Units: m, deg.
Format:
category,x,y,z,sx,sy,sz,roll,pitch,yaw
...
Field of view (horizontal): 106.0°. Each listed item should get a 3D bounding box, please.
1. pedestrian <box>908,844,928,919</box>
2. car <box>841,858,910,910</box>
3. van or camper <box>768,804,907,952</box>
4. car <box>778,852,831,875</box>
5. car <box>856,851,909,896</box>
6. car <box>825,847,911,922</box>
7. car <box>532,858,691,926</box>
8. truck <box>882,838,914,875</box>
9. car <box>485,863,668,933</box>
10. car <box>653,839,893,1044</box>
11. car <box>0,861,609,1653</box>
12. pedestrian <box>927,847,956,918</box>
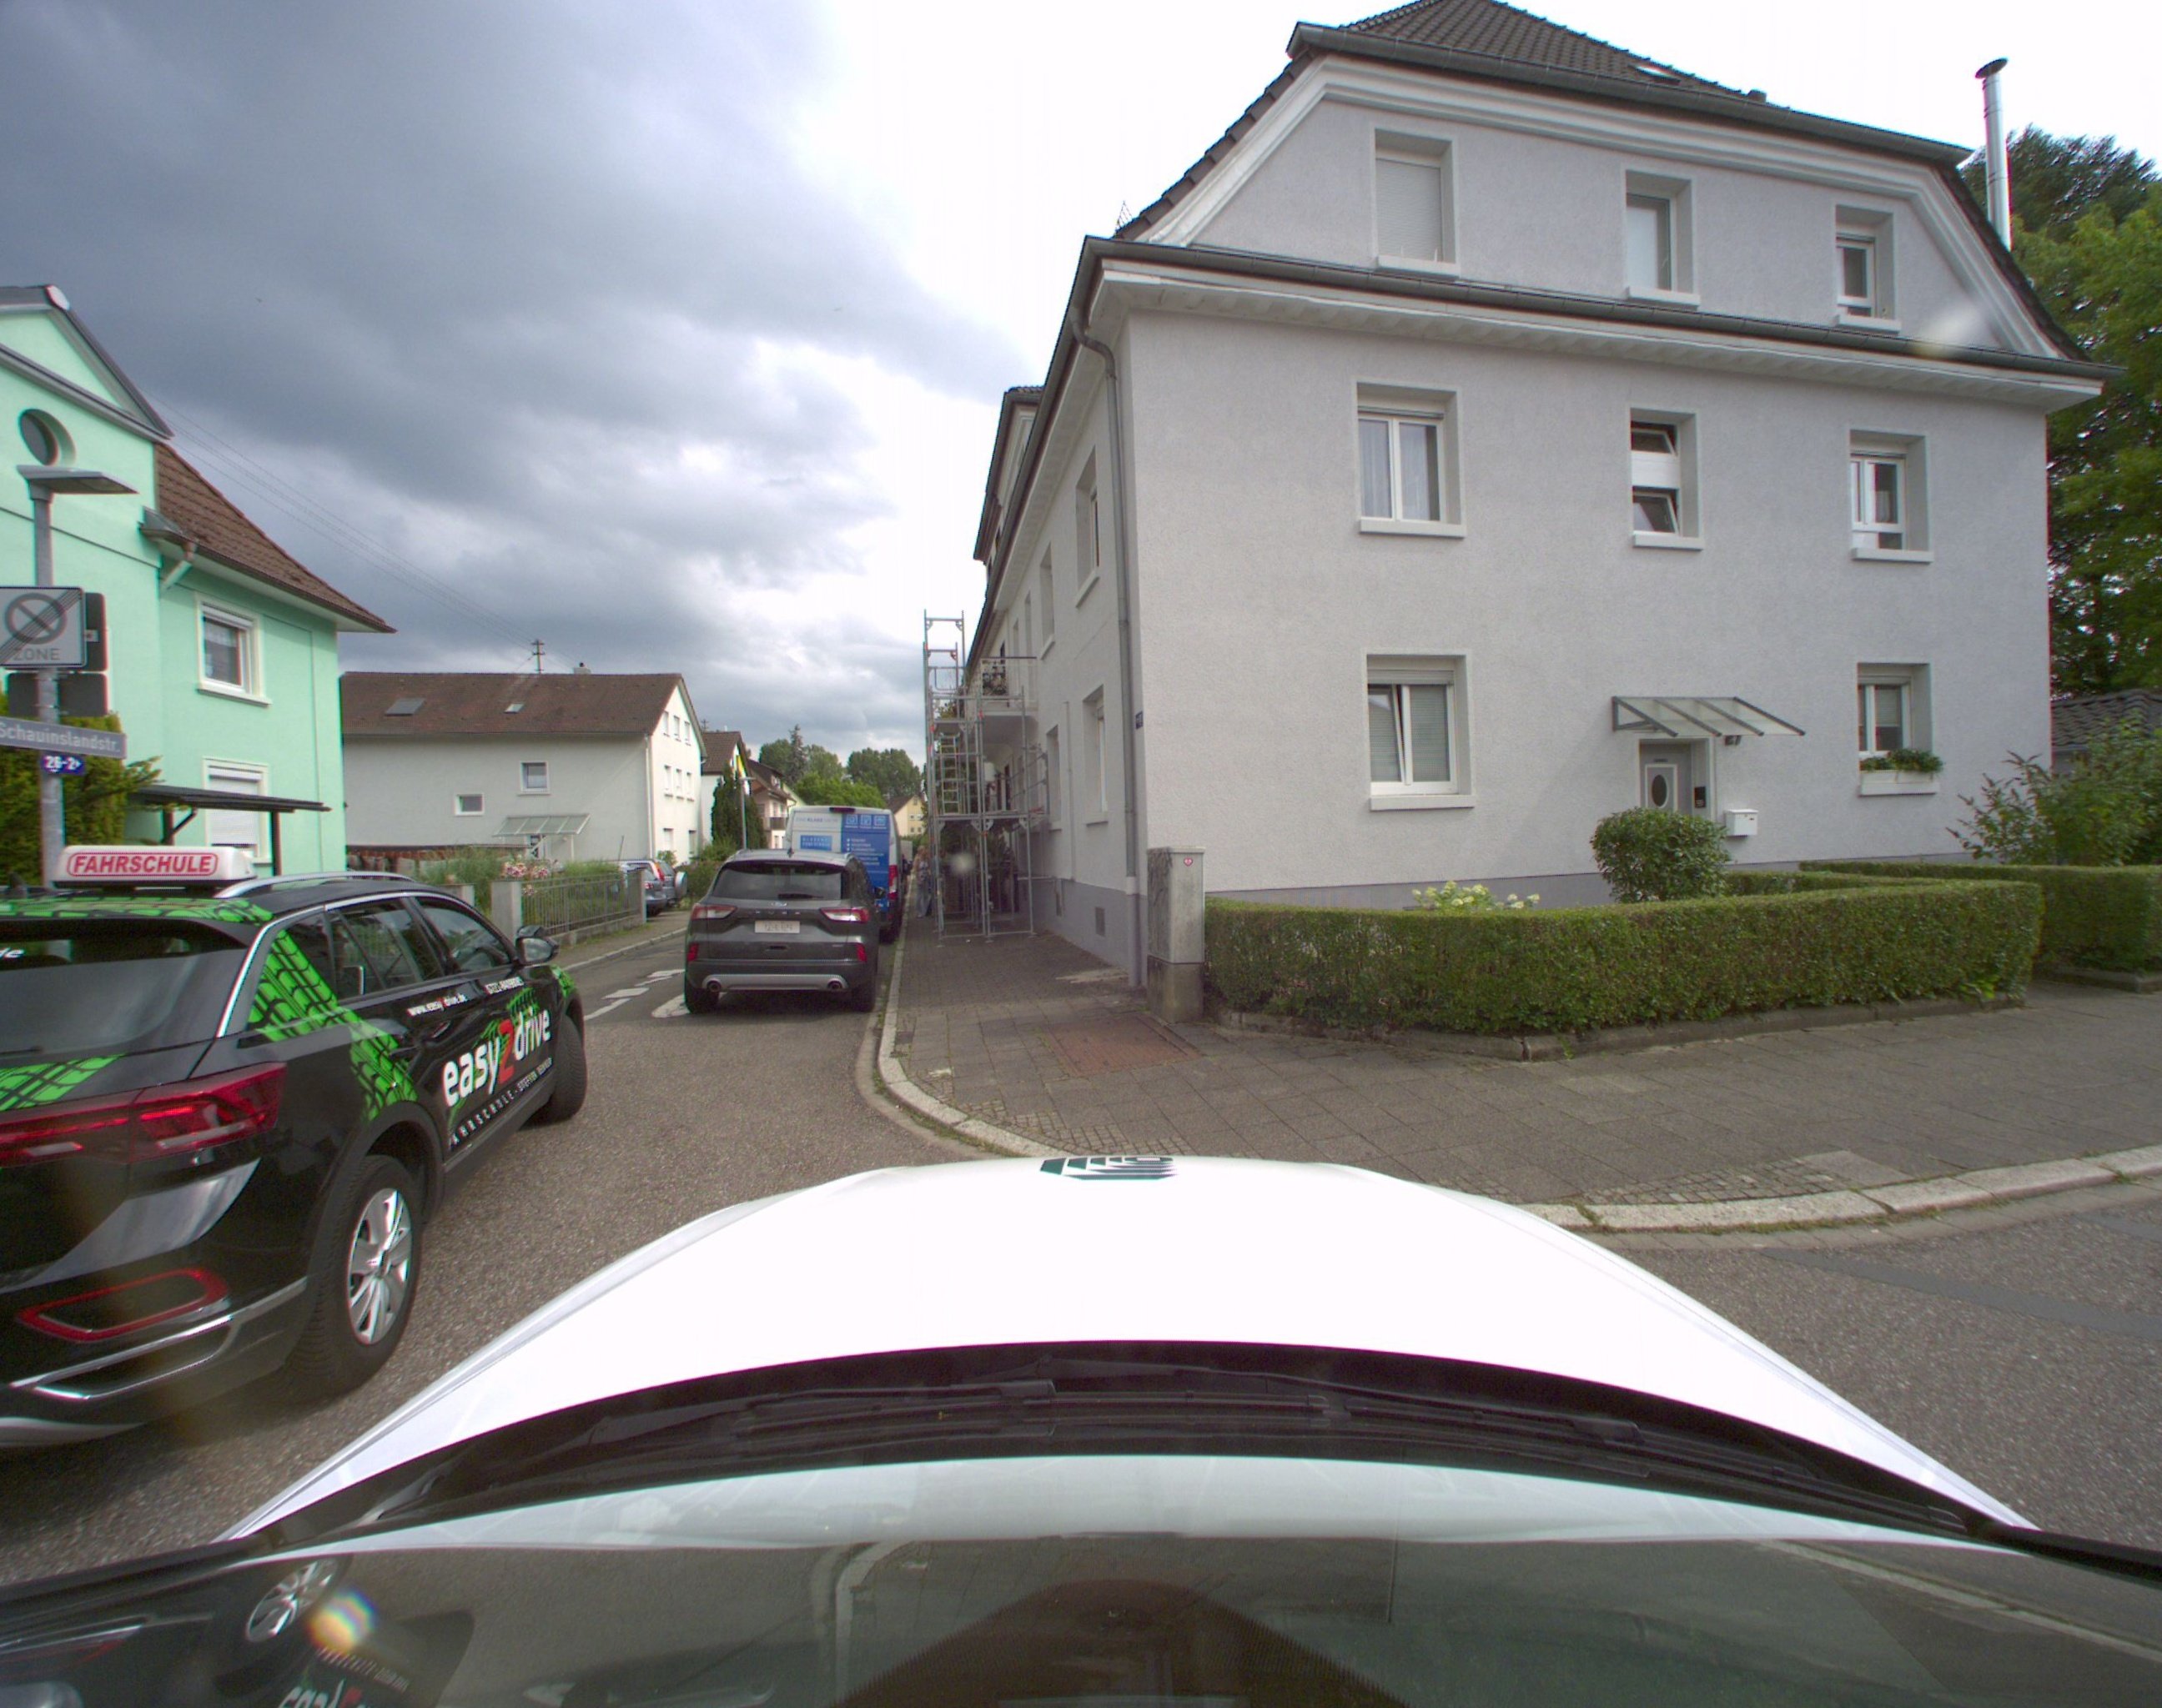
category,x,y,z,sx,sy,sz,roll,pitch,yaw
pedestrian,-3.944,0.655,19.727,0.408,1.762,0.511,-2,-1,-11
car,-6.858,0.936,27.267,1.997,1.455,4.321,-2,1,-14
van or camper,-4.724,0.382,16.555,2.194,2.459,5.033,-2,1,-12
car,-23.259,0.800,68.688,3.994,1.772,1.860,-2,-1,-15
car,-8.552,0.769,35.053,1.997,1.749,4.321,-2,1,-14
car,-5.802,0.737,22.339,1.997,1.772,4.321,-2,1,-14
car,-13.314,1.034,23.295,3.578,1.667,1.579,-3,0,-16
truck,-13.931,0.187,61.900,2.133,2.657,4.563,-2,1,-14
car,-12.667,1.056,20.677,3.578,1.500,1.579,-3,0,-16
car,-3.291,0.760,9.530,1.997,1.726,4.321,-2,1,-14
car,-3.338,0.833,3.254,1.822,1.520,4.015,-1,-1,-20
pedestrian,-3.329,0.668,19.445,0.601,1.629,0.623,-2,-1,-11
